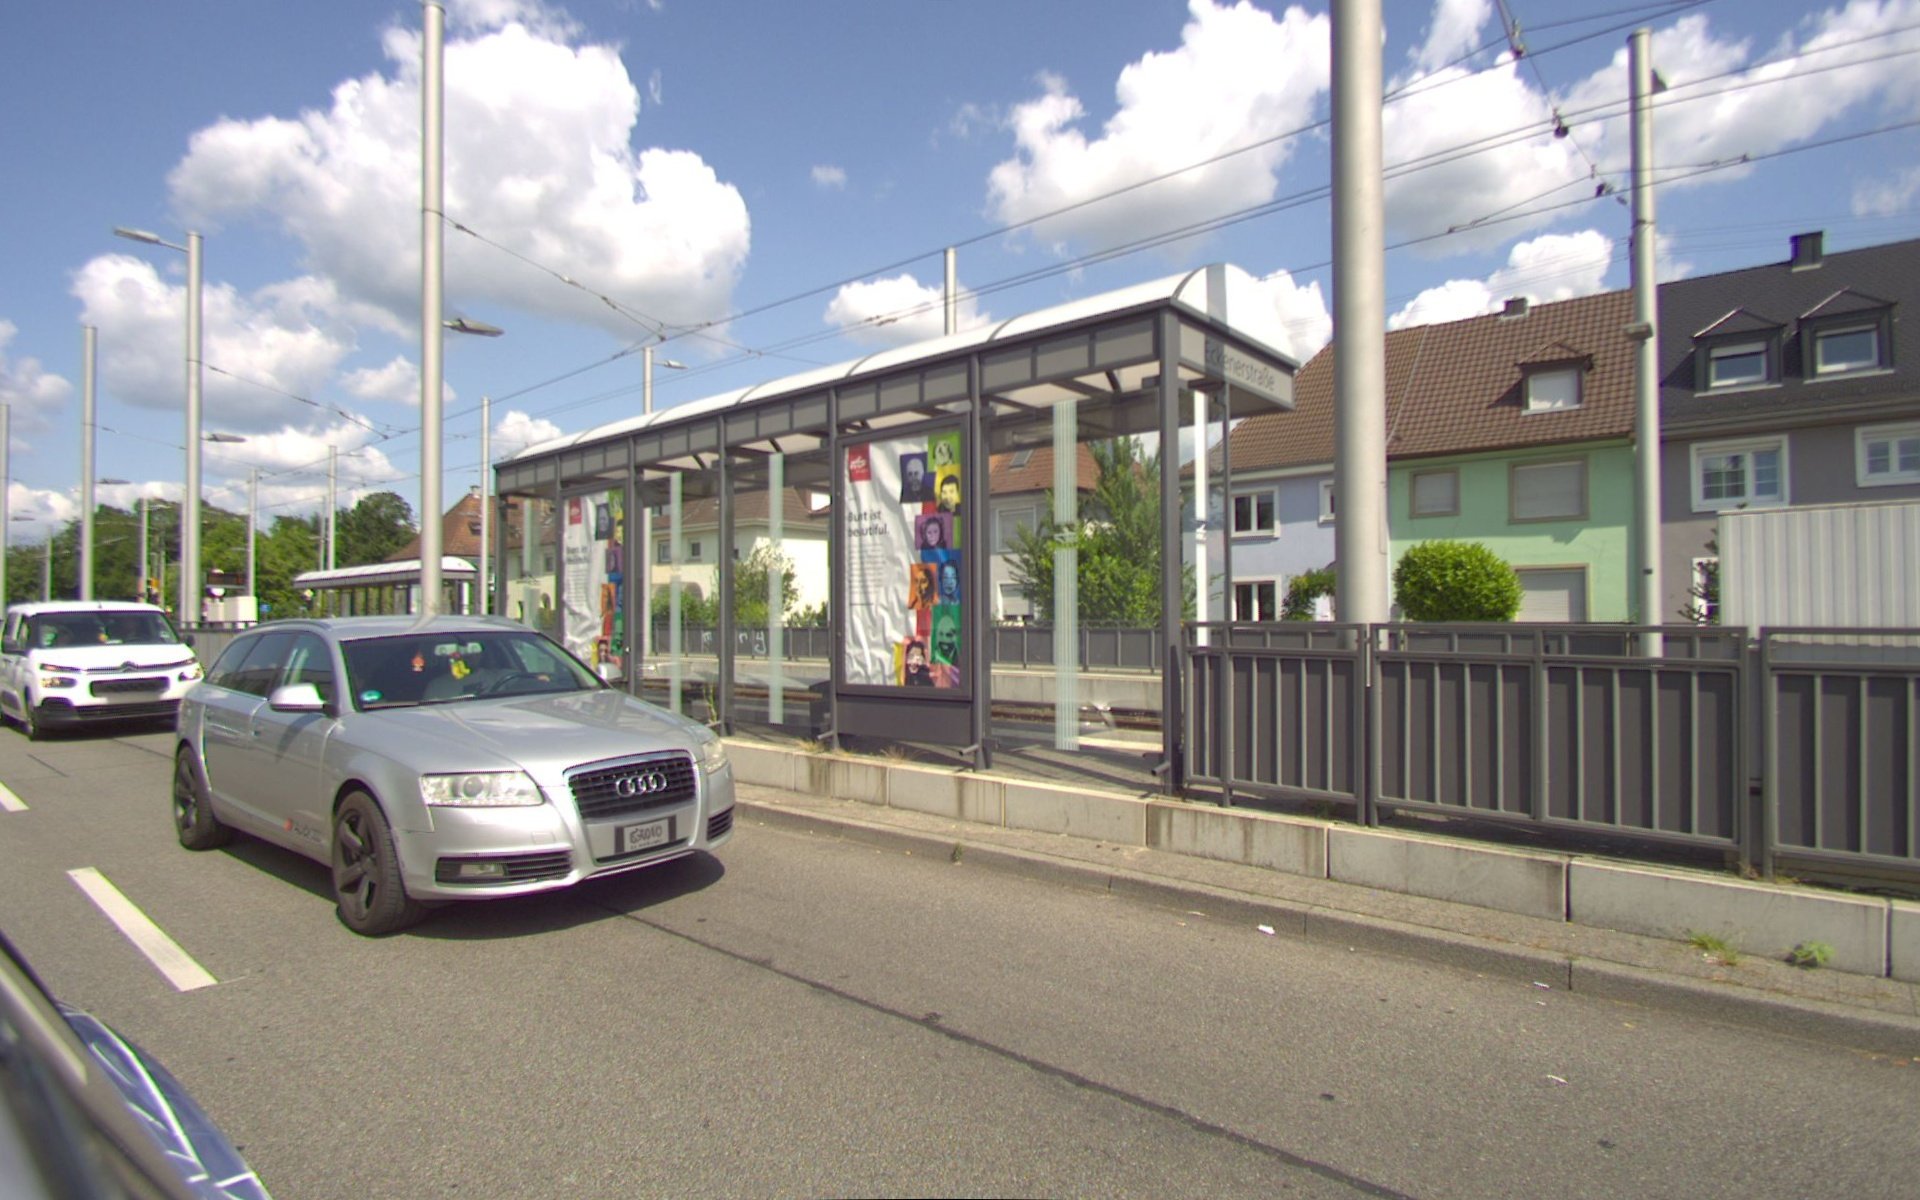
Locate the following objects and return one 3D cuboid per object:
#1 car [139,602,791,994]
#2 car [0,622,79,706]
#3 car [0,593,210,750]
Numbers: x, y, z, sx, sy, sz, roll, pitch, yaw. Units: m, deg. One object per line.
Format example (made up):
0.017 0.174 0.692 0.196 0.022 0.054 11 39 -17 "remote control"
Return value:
-3.257 0.792 6.106 4.718 1.483 1.776 -1 0 40 "car"
-18.849 1.220 19.942 3.389 1.515 1.659 -2 0 39 "car"
-12.054 0.864 13.996 4.326 1.829 1.776 -1 0 40 "car"
